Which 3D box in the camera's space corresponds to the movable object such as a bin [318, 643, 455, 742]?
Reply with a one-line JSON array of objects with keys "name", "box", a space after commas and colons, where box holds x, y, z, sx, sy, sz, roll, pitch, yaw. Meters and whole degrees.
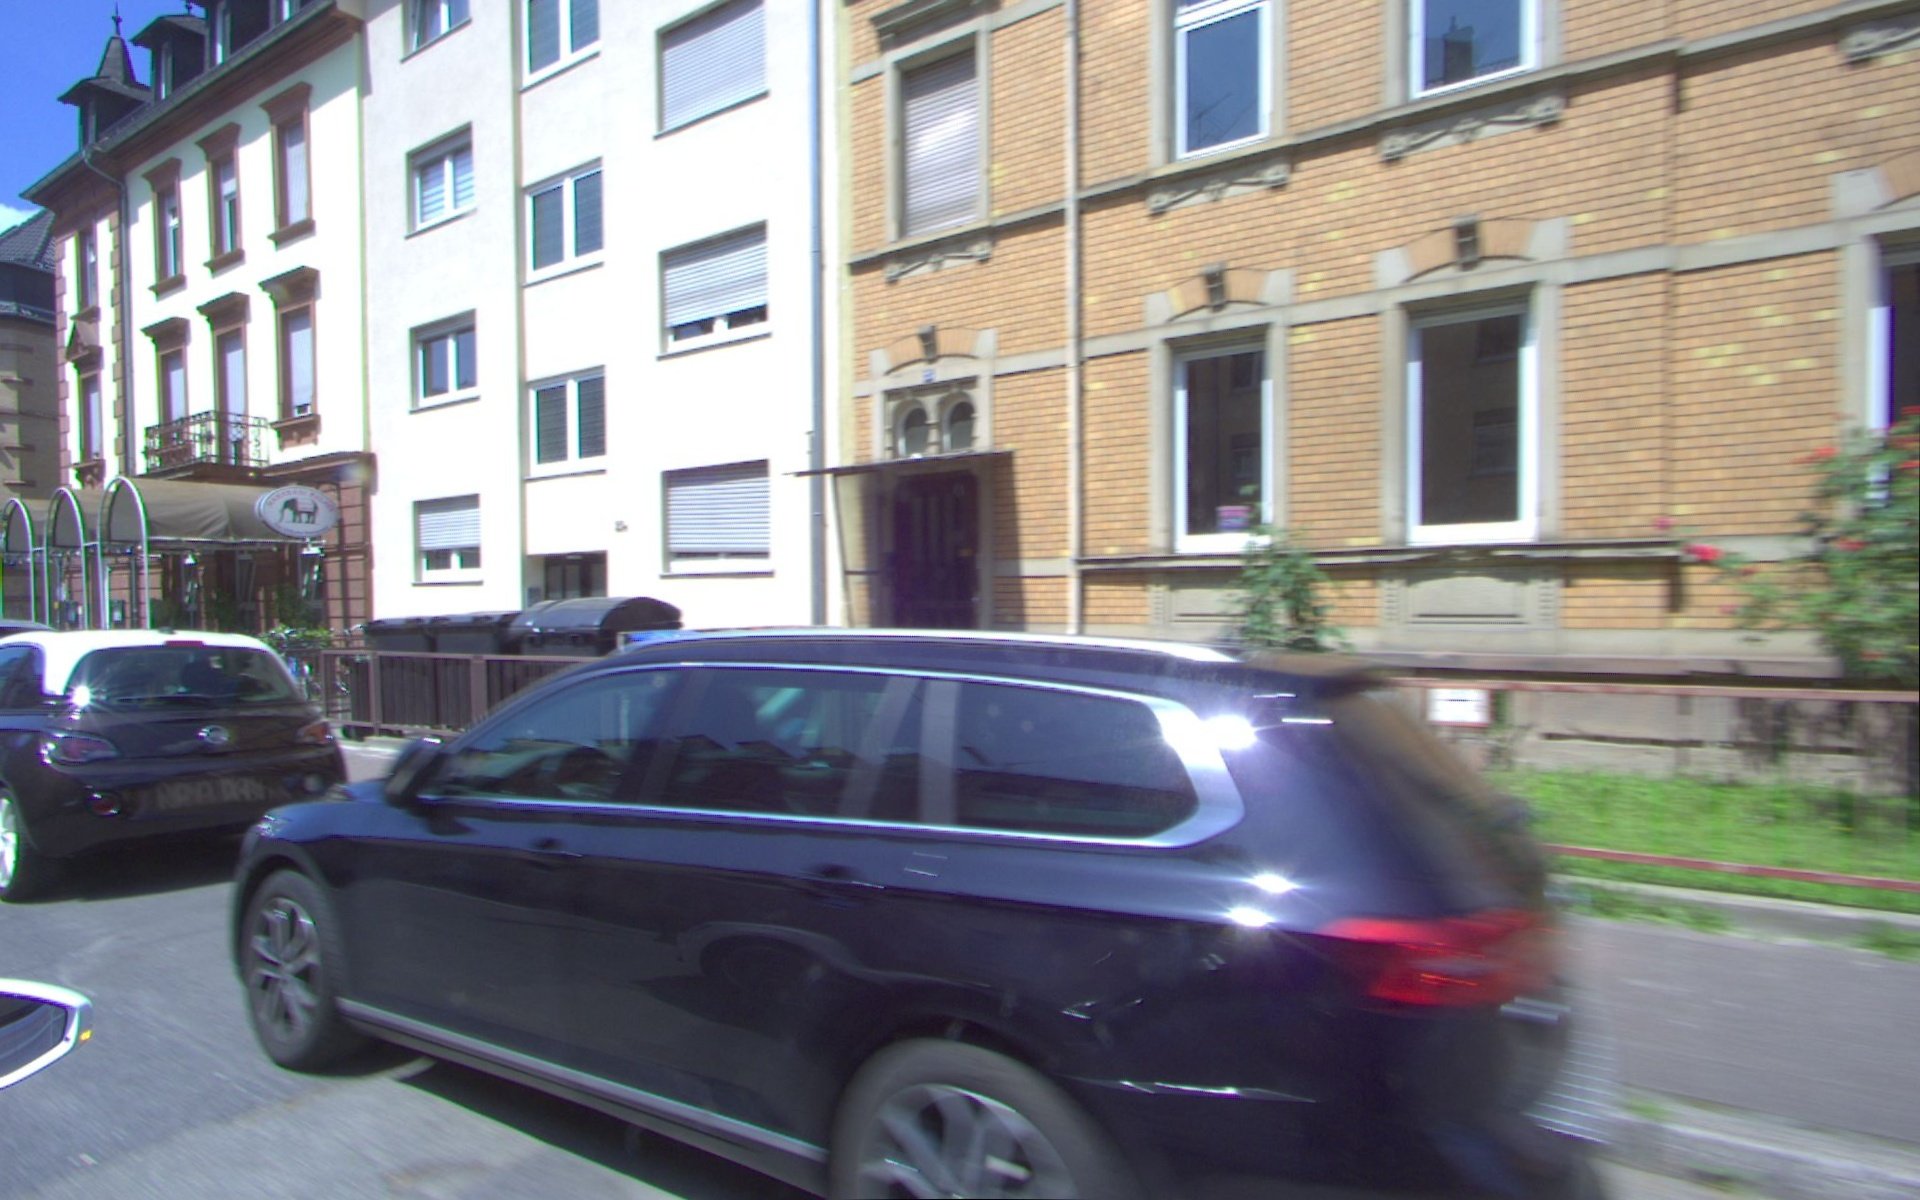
[{"name": "movable object such as a bin", "box": [-6.555, 1.023, 11.473, 0.978, 1.036, 1.040, 0, -1, 34]}]

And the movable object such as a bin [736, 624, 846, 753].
[{"name": "movable object such as a bin", "box": [-1.651, 0.836, 9.789, 0.840, 1.192, 0.666, 0, -1, 34]}]

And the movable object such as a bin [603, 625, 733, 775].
[{"name": "movable object such as a bin", "box": [-2.482, 0.815, 8.515, 0.898, 1.192, 0.636, 0, -1, 35]}]

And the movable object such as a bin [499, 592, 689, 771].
[{"name": "movable object such as a bin", "box": [-3.449, 0.717, 9.443, 1.426, 1.537, 1.040, 0, -1, 34]}]

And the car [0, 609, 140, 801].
[{"name": "car", "box": [-9.515, 0.878, 9.280, 3.944, 1.573, 1.857, 0, -2, 33]}]

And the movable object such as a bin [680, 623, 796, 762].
[{"name": "movable object such as a bin", "box": [-2.035, 0.815, 9.189, 0.840, 1.202, 0.636, 0, -1, 35]}]

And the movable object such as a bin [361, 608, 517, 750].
[{"name": "movable object such as a bin", "box": [-5.633, 0.811, 10.838, 1.237, 1.420, 1.040, 0, -1, 34]}]

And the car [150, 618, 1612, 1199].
[{"name": "car", "box": [-0.591, 0.825, 3.332, 4.551, 1.483, 1.858, 0, -2, 32]}]

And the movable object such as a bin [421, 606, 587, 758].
[{"name": "movable object such as a bin", "box": [-4.610, 0.788, 10.138, 1.237, 1.420, 1.040, 0, -1, 34]}]

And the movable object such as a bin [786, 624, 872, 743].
[{"name": "movable object such as a bin", "box": [-1.360, 0.846, 10.437, 0.617, 1.192, 0.636, 0, -1, 34]}]

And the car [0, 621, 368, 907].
[{"name": "car", "box": [-5.972, 0.882, 6.917, 3.943, 1.459, 1.657, 0, -1, 33]}]
